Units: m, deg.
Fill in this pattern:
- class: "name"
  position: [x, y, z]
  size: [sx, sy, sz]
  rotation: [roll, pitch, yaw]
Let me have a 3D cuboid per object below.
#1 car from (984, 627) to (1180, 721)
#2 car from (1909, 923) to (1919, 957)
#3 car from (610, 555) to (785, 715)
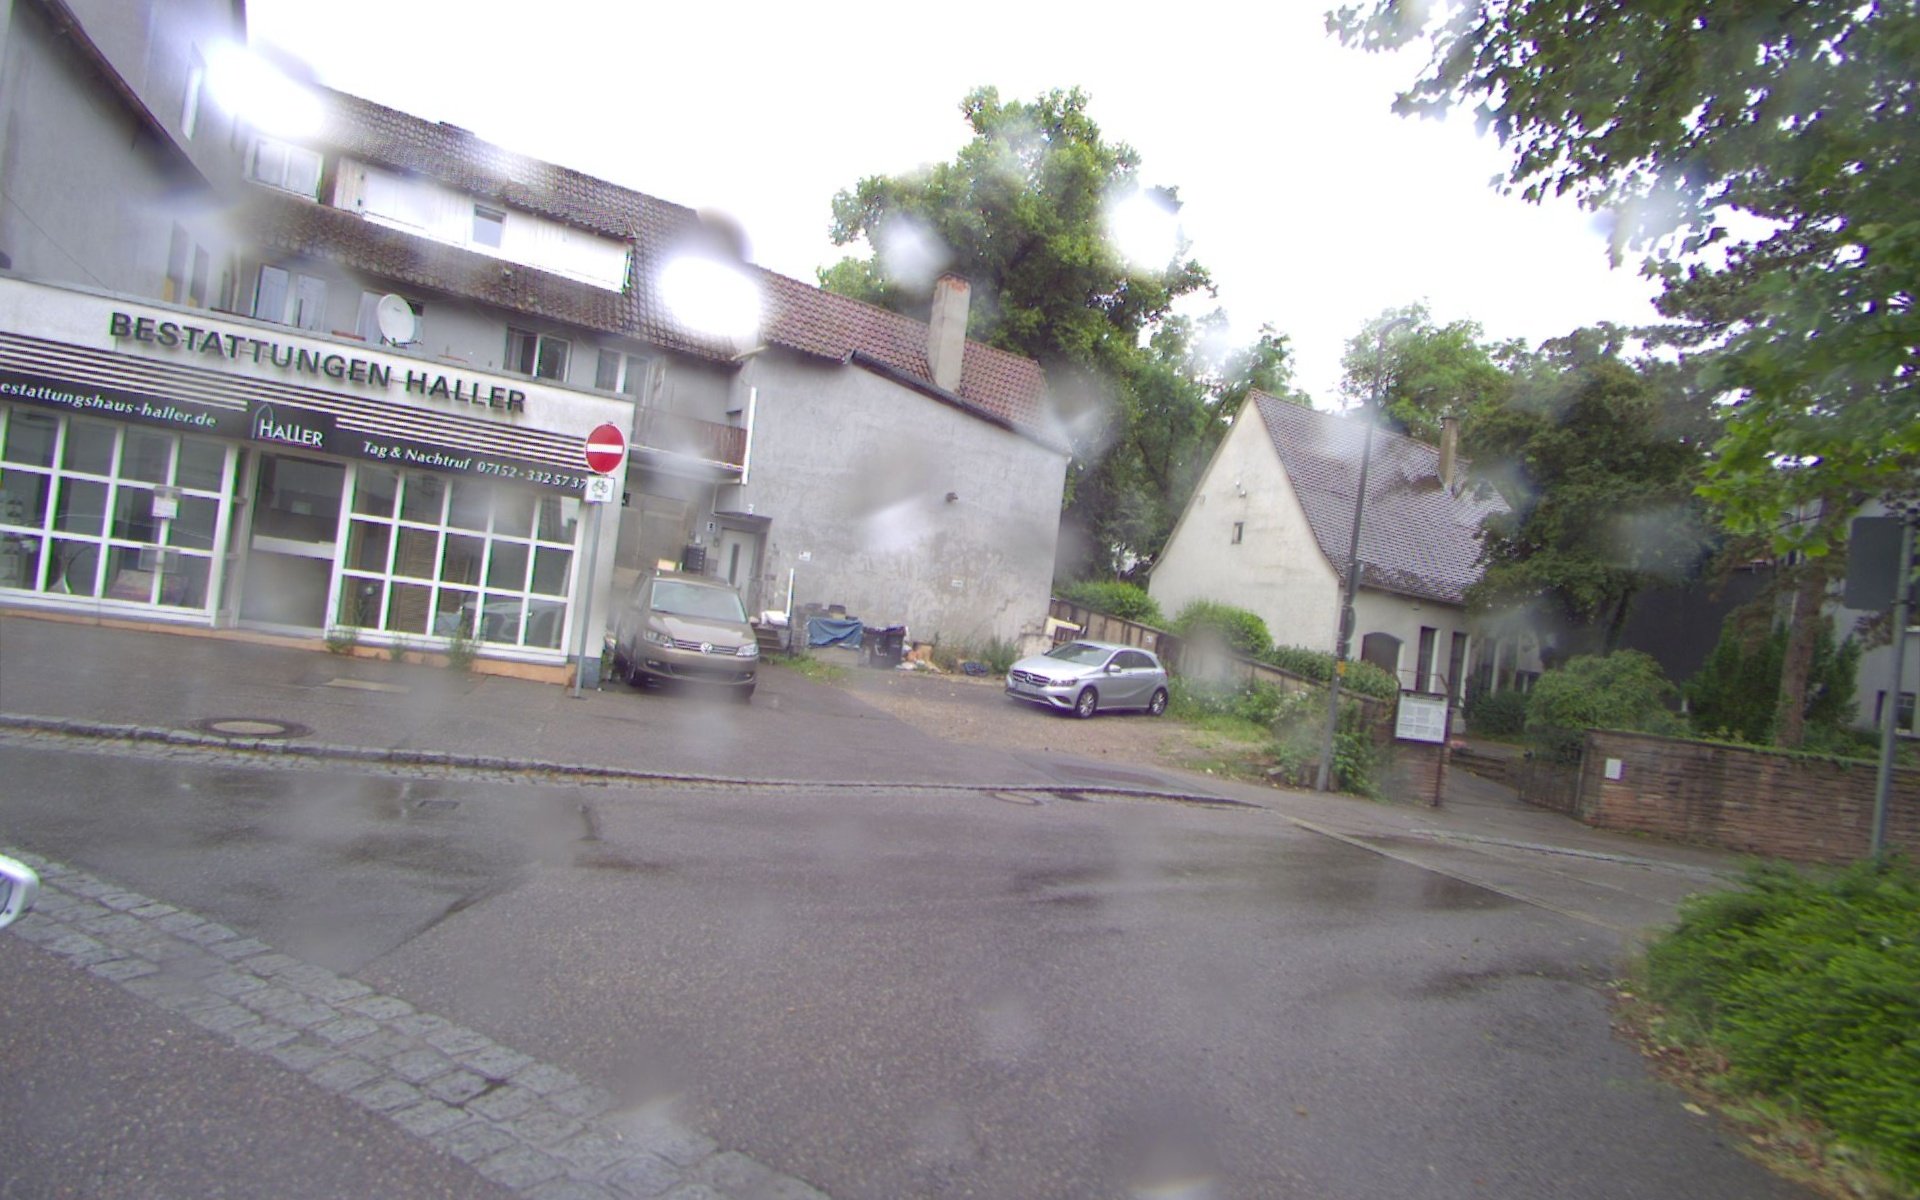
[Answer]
- class: "car"
  position: [2.560, 1.534, 20.505]
  size: [1.808, 1.493, 3.977]
  rotation: [10, 2, 44]
- class: "car"
  position: [13.208, 3.774, 10.857]
  size: [3.933, 1.677, 1.990]
  rotation: [9, 11, -8]
- class: "car"
  position: [-4.228, 0.427, 15.710]
  size: [1.974, 1.794, 3.976]
  rotation: [8, 2, -22]
